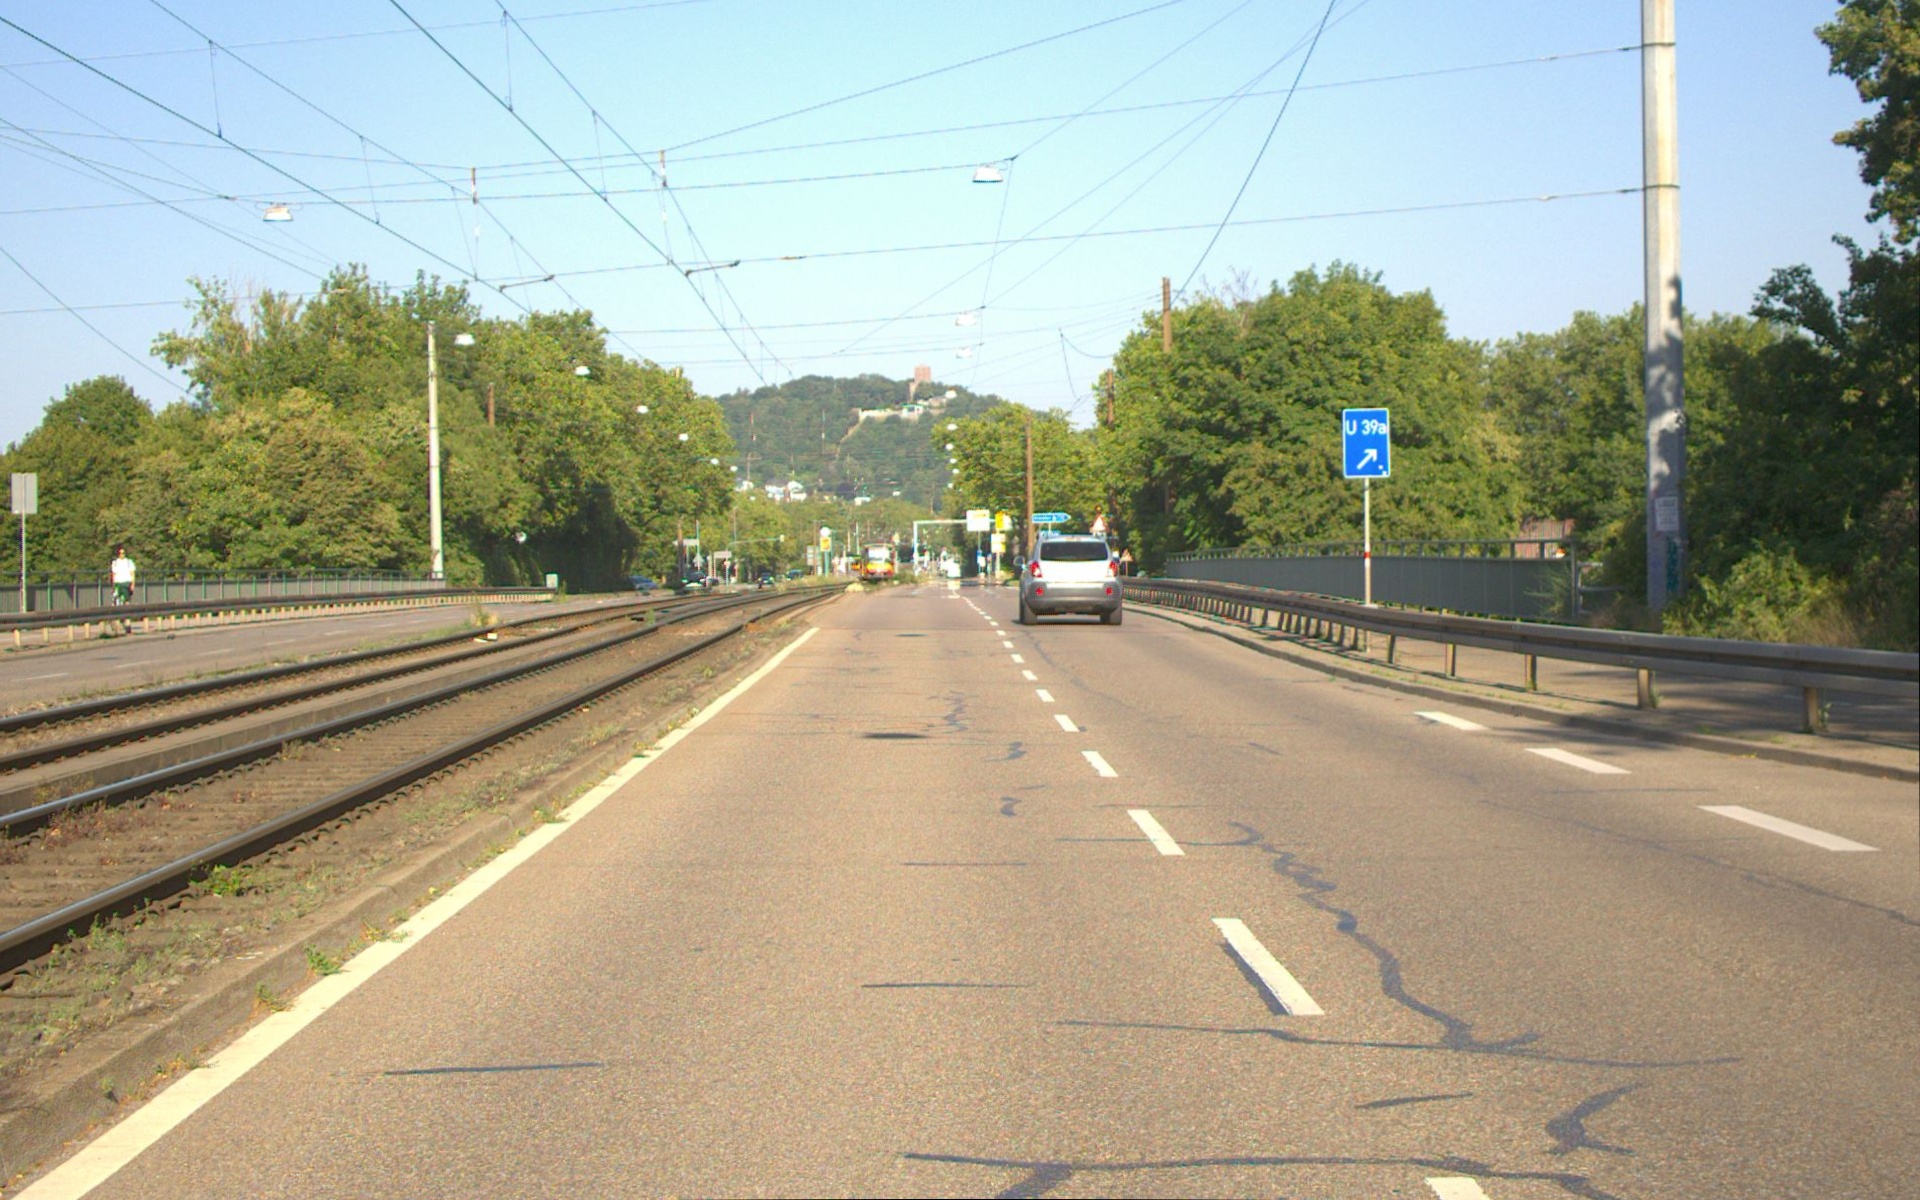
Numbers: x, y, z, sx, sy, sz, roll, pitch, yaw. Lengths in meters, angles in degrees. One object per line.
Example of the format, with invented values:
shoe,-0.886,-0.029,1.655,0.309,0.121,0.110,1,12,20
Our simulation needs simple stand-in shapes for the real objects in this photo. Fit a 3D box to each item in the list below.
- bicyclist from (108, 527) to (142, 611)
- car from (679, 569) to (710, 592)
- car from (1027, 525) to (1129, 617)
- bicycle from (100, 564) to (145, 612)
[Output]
bicyclist,-18.702,-0.696,77.017,0.540,1.856,0.875,1,0,-1
car,-19.527,-1.461,253.150,1.993,1.612,4.000,1,1,-1
car,2.243,-0.563,65.506,1.888,1.688,4.256,0,1,2
bicycle,-18.709,-0.281,76.844,0.540,1.040,1.925,1,1,-1
